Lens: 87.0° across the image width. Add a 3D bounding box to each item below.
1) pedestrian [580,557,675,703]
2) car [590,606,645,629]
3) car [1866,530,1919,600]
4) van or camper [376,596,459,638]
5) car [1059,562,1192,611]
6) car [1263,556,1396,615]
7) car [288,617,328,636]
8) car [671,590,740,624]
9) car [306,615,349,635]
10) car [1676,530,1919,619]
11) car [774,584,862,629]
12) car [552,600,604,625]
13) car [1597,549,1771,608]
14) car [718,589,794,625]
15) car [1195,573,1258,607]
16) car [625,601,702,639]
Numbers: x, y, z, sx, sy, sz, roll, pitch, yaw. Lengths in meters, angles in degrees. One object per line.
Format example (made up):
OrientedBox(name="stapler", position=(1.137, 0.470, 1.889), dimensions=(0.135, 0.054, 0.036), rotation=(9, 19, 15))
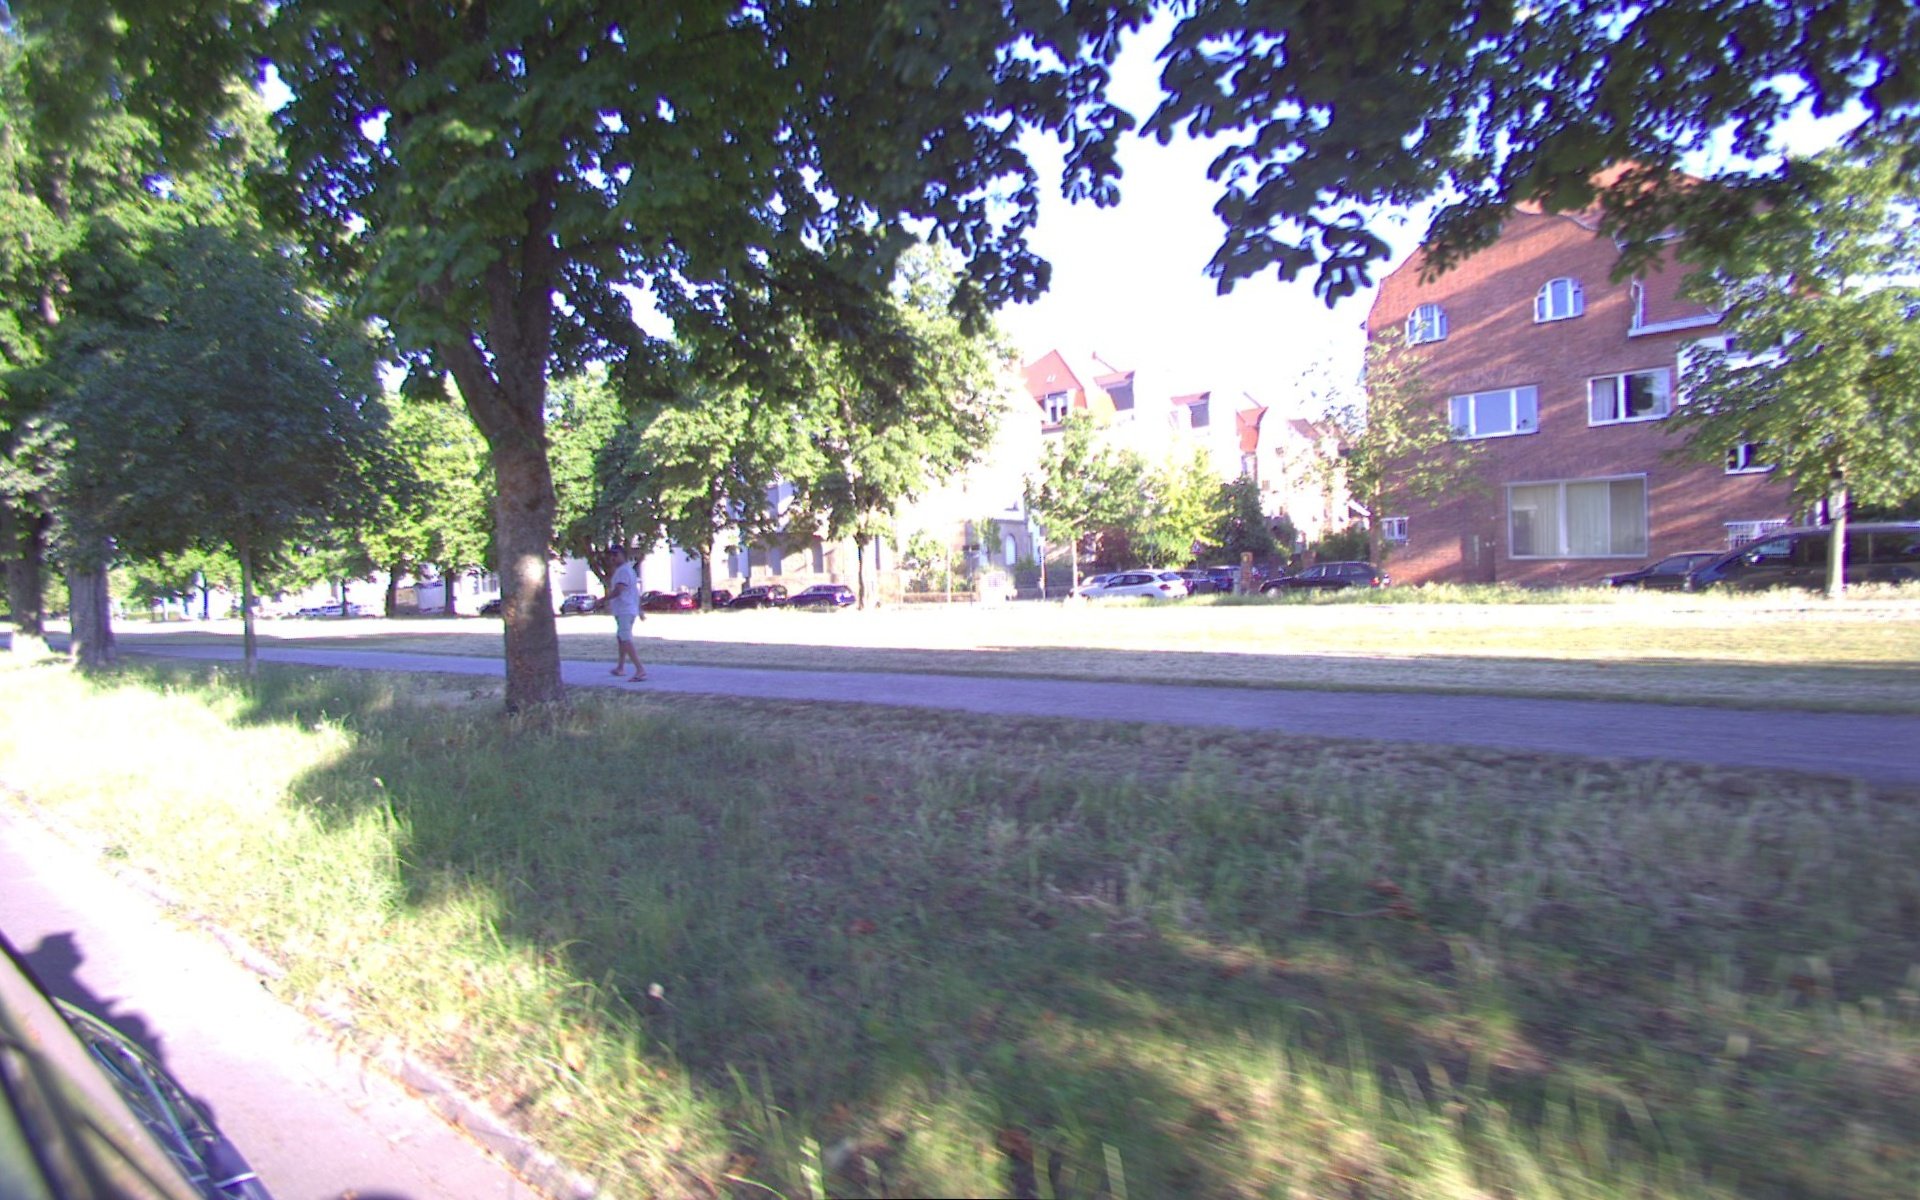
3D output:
OrientedBox(name="pedestrian", position=(-4.262, 0.373, 12.960), dimensions=(0.716, 1.771, 0.994), rotation=(-3, 1, -43))
OrientedBox(name="car", position=(-24.709, 1.282, 72.925), dimensions=(4.168, 1.440, 1.972), rotation=(-2, 1, 42))
OrientedBox(name="car", position=(27.392, -1.039, 27.221), dimensions=(4.406, 1.851, 1.798), rotation=(-2, 1, 41))
OrientedBox(name="van or camper", position=(-43.952, 1.399, 81.892), dimensions=(7.892, 3.134, 3.221), rotation=(-1, 1, 41))
OrientedBox(name="car", position=(6.165, -0.492, 38.027), dimensions=(4.647, 1.651, 1.801), rotation=(-2, 2, 41))
OrientedBox(name="car", position=(13.962, -0.518, 38.414), dimensions=(4.366, 2.028, 1.739), rotation=(-2, 1, 41))
OrientedBox(name="car", position=(-63.295, 2.578, 98.192), dimensions=(4.873, 1.703, 1.973), rotation=(-1, 1, 41))
OrientedBox(name="car", position=(-16.411, 0.460, 65.103), dimensions=(4.425, 2.028, 1.974), rotation=(-2, 1, 39))
OrientedBox(name="car", position=(-59.152, 2.318, 94.612), dimensions=(4.873, 1.703, 1.973), rotation=(-1, 1, 41))
OrientedBox(name="car", position=(21.228, -0.606, 25.257), dimensions=(5.244, 1.955, 1.973), rotation=(-2, 1, 42))
OrientedBox(name="car", position=(-8.192, 0.402, 58.100), dimensions=(5.000, 1.763, 1.975), rotation=(-7, -16, 37))
OrientedBox(name="car", position=(-28.662, 0.929, 75.864), dimensions=(3.999, 1.747, 1.972), rotation=(-2, 1, 42))
OrientedBox(name="car", position=(22.762, -0.651, 31.902), dimensions=(4.303, 1.635, 1.739), rotation=(-2, 1, 41))
OrientedBox(name="car", position=(-12.471, 0.427, 61.671), dimensions=(4.875, 2.028, 1.972), rotation=(-1, 1, 42))
OrientedBox(name="car", position=(14.353, -0.554, 54.391), dimensions=(1.834, 1.585, 3.858), rotation=(-2, 1, 40))
OrientedBox(name="car", position=(-17.166, 1.161, 58.436), dimensions=(4.875, 2.028, 1.972), rotation=(-1, 1, 42))
